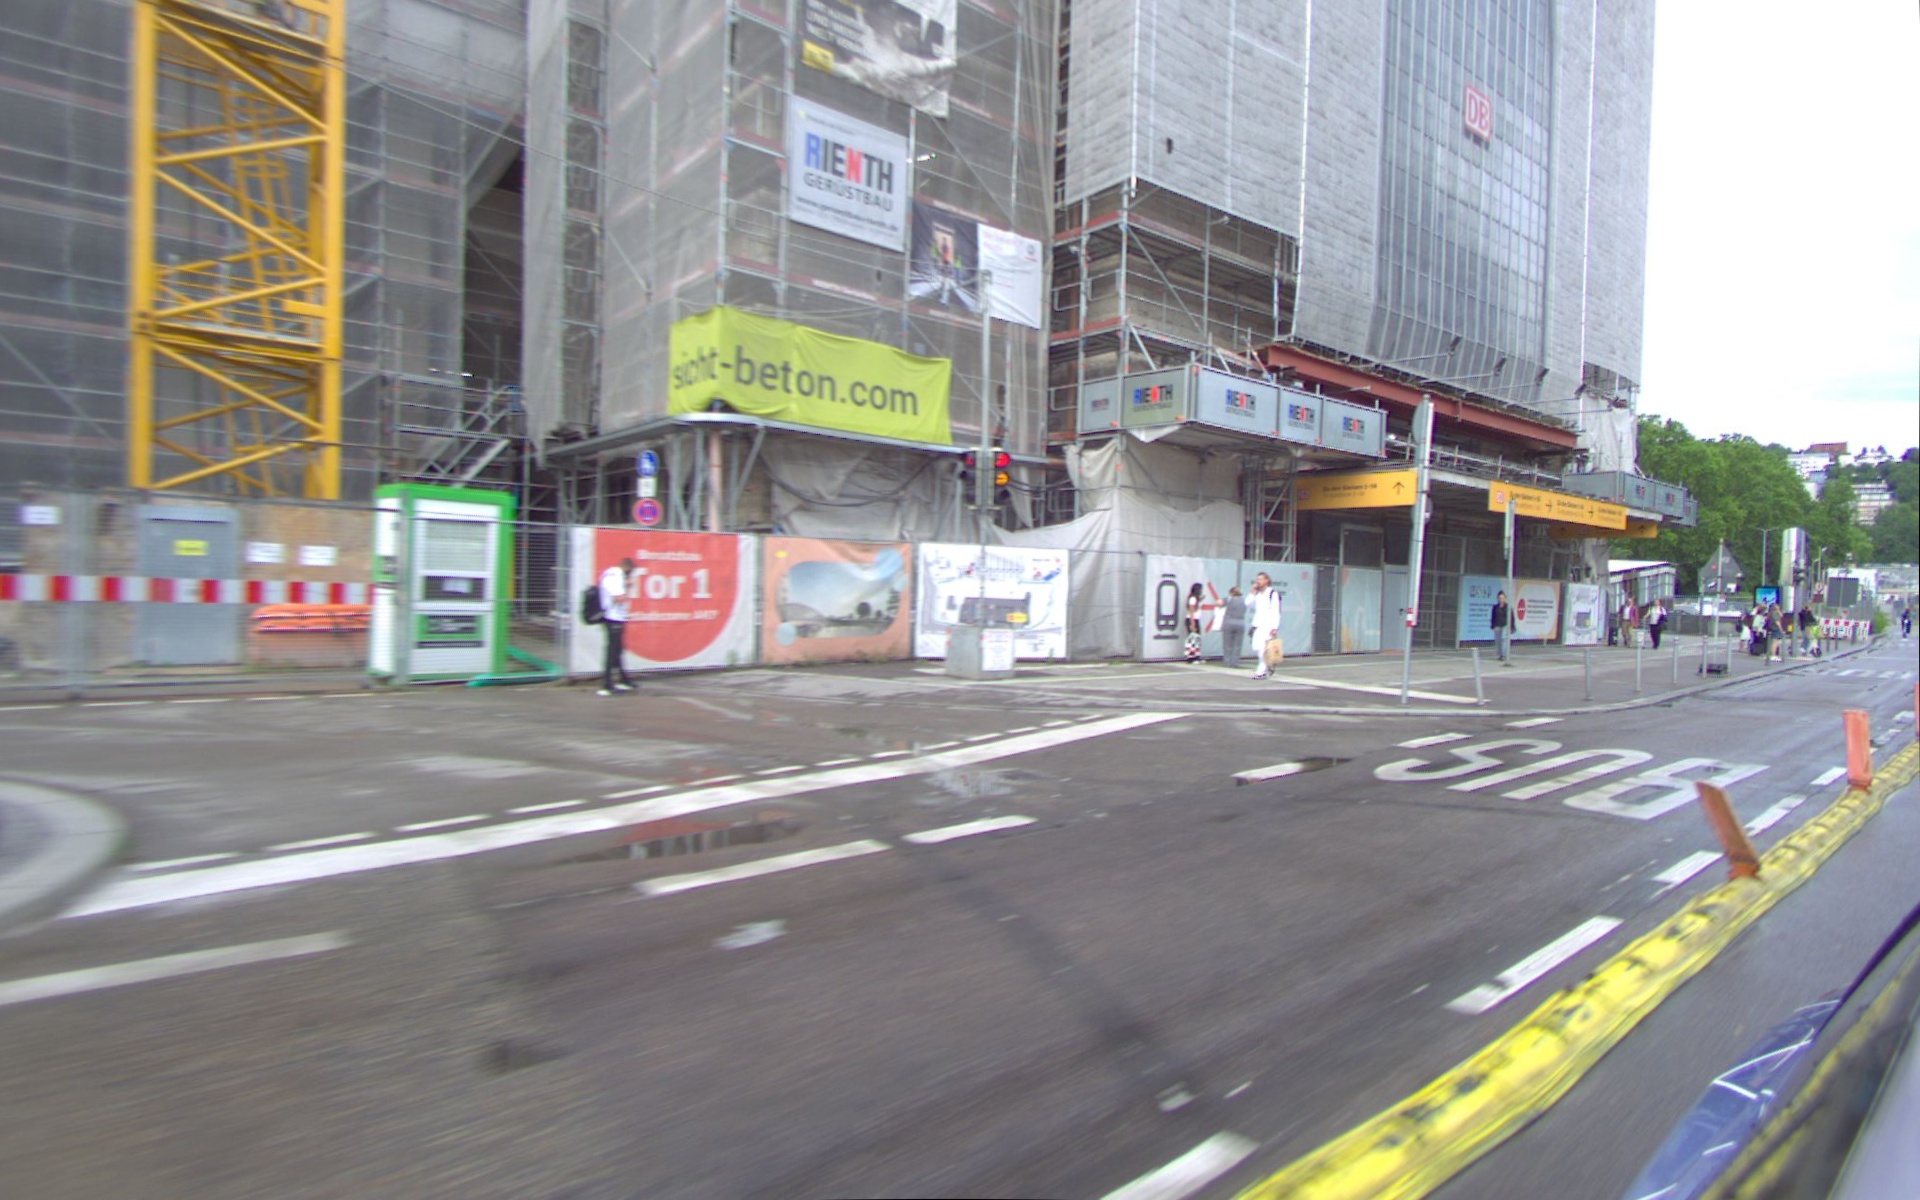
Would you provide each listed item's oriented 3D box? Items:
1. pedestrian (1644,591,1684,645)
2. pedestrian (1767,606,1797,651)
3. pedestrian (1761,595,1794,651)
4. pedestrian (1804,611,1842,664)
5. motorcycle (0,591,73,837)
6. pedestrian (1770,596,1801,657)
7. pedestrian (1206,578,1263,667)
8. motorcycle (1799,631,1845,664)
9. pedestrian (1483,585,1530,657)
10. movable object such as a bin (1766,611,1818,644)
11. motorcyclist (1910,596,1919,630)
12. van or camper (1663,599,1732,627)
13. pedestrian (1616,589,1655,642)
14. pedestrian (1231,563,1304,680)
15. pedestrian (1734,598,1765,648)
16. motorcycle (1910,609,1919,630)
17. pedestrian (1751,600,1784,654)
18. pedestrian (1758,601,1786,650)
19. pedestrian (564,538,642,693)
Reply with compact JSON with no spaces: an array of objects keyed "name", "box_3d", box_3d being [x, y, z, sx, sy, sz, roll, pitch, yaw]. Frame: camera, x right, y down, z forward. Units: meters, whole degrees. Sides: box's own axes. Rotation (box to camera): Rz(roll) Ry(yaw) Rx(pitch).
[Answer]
[{"name":"pedestrian","box_3d":[23.246,0.609,33.415,0.940,1.698,0.738,2,3,-41]},{"name":"pedestrian","box_3d":[28.042,0.962,34.507,0.698,1.466,0.560,2,3,-39]},{"name":"pedestrian","box_3d":[26.724,0.740,33.087,0.698,1.773,0.560,2,3,-39]},{"name":"pedestrian","box_3d":[29.431,1.264,34.533,0.571,1.762,0.820,2,0,7]},{"name":"motorcycle","box_3d":[-5.417,0.534,4.968,1.586,1.181,0.586,1,0,0]},{"name":"pedestrian","box_3d":[25.202,0.806,30.904,0.557,1.780,0.742,6,3,36]},{"name":"pedestrian","box_3d":[5.080,0.413,18.757,0.653,1.558,0.653,2,3,-39]},{"name":"motorcycle","box_3d":[29.418,1.626,34.549,0.576,1.034,1.237,2,1,7]},{"name":"pedestrian","box_3d":[13.138,0.503,24.320,0.978,1.652,0.551,2,3,-40]},{"name":"movable object such as a bin","box_3d":[42.174,1.379,51.290,1.502,1.510,1.306,2,1,-12]},{"name":"motorcyclist","box_3d":[60.900,0.837,64.263,0.724,2.061,0.578,4,0,43]},{"name":"van or camper","box_3d":[71.726,1.234,98.517,2.343,2.432,6.059,4,1,3]},{"name":"pedestrian","box_3d":[22.689,0.525,33.999,1.089,1.703,0.735,2,1,-38]},{"name":"pedestrian","box_3d":[5.189,0.350,17.059,0.796,1.870,0.725,2,3,-40]},{"name":"pedestrian","box_3d":[27.635,0.806,35.420,0.603,1.670,0.566,3,3,-36]},{"name":"motorcycle","box_3d":[60.786,1.247,64.177,0.728,1.244,2.127,4,0,43]},{"name":"pedestrian","box_3d":[25.792,0.873,32.339,0.738,1.660,0.560,2,3,-39]},{"name":"pedestrian","box_3d":[28.953,0.915,36.083,0.603,1.670,0.560,2,3,-39]},{"name":"pedestrian","box_3d":[-4.520,0.188,12.792,0.647,1.870,0.646,2,3,-40]}]
